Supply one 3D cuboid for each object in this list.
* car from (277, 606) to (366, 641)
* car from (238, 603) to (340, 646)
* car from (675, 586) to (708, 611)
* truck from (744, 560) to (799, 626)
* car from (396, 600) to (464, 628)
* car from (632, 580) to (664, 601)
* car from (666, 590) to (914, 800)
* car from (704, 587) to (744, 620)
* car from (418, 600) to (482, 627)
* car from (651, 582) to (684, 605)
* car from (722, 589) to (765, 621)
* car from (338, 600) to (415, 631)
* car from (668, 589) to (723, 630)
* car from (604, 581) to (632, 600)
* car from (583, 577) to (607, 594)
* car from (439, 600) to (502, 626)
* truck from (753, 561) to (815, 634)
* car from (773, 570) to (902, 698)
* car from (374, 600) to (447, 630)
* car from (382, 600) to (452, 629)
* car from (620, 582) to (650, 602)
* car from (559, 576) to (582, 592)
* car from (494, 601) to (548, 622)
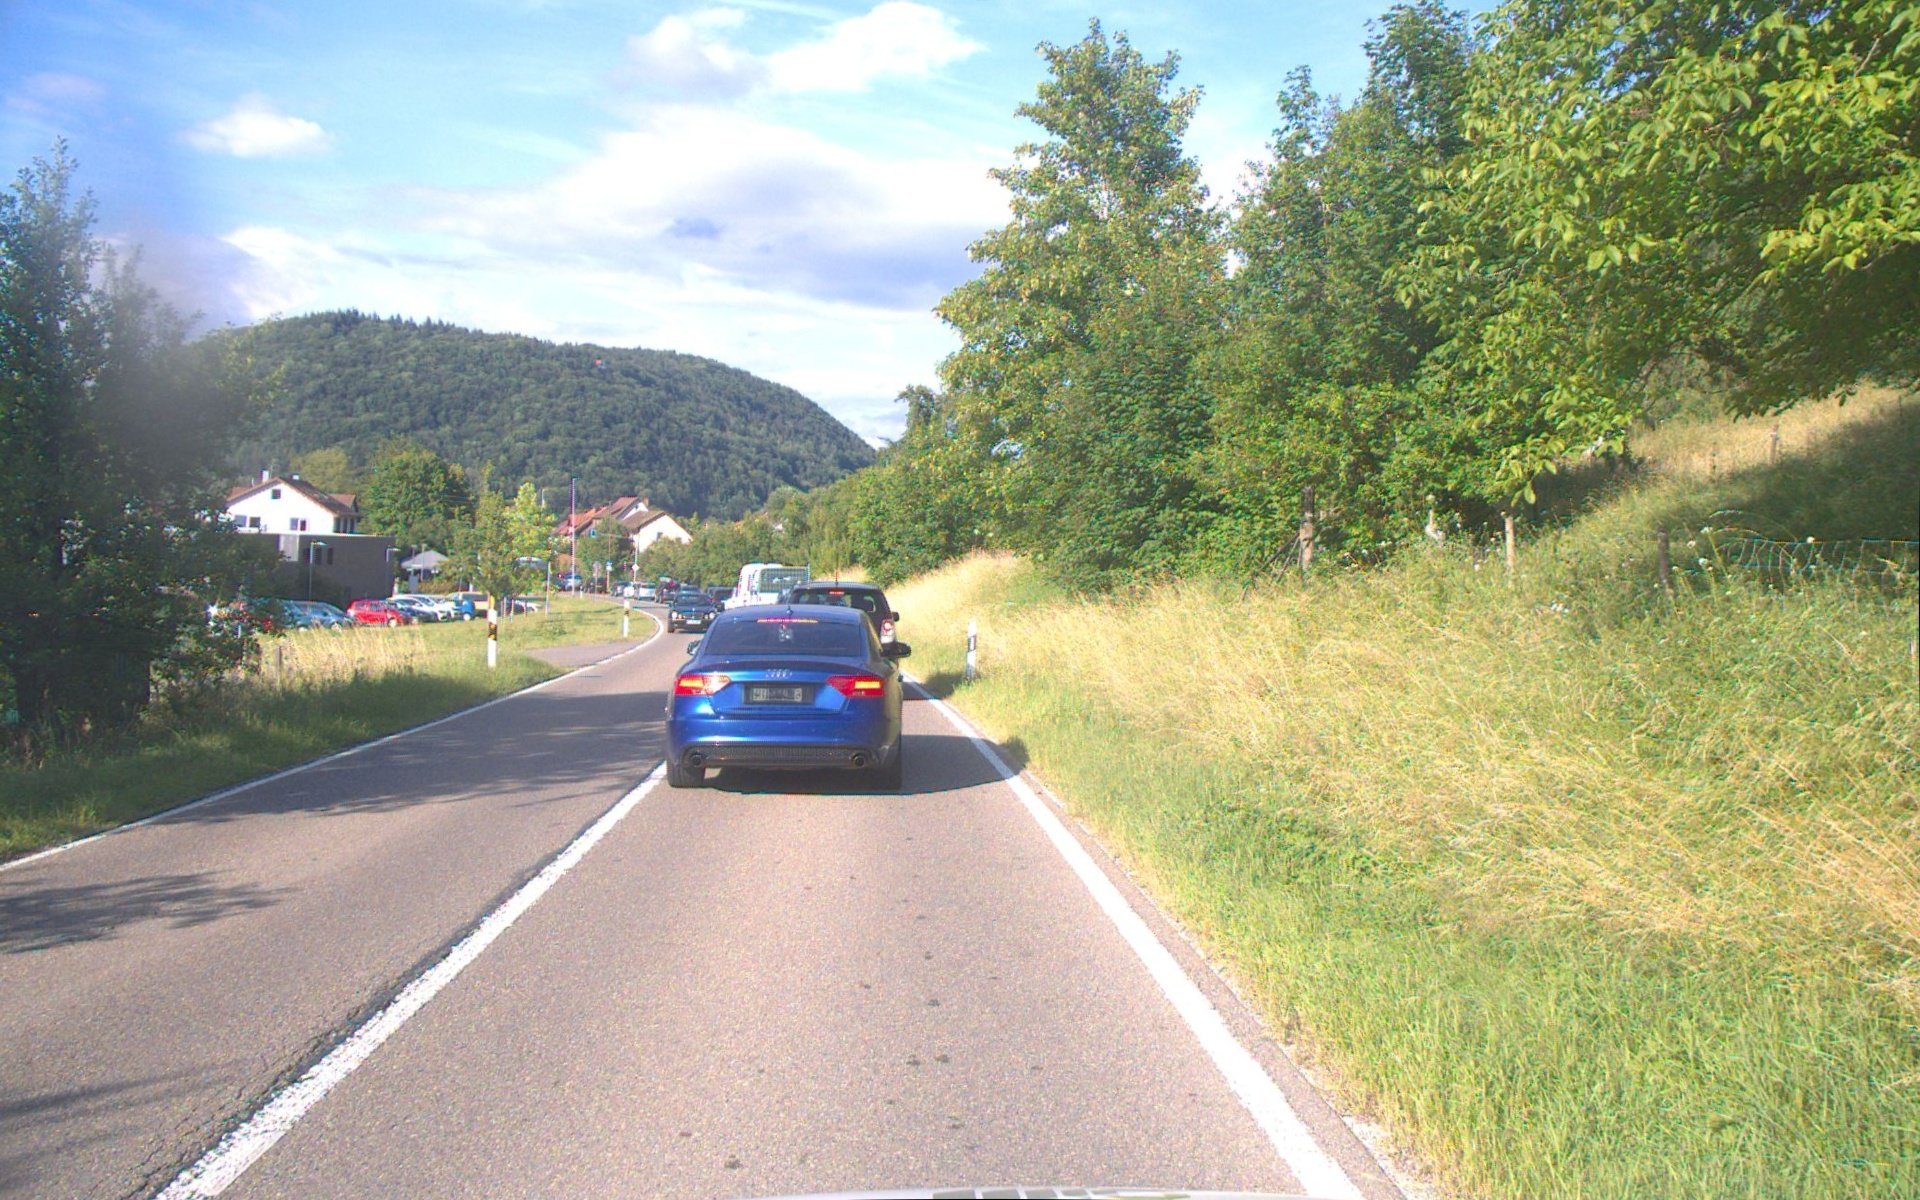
[{"bbox_3d":[-33.349,1.220,86.453,3.912,1.741,1.997,1,0,-8],"label":"car"},{"bbox_3d":[-33.391,1.207,82.402,4.323,2.043,1.997,1,0,-8],"label":"car"},{"bbox_3d":[-19.389,-0.113,119.362,1.817,1.742,3.979,1,0,-18],"label":"car"},{"bbox_3d":[-8.031,-0.272,70.412,2.187,2.615,6.697,1,0,-7],"label":"truck"},{"bbox_3d":[-34.772,0.910,108.645,3.912,1.741,1.997,1,0,-8],"label":"car"},{"bbox_3d":[-26.187,-0.804,138.696,1.820,1.742,3.973,1,0,-22],"label":"car"},{"bbox_3d":[-1.266,0.676,13.554,1.719,1.455,3.844,1,0,-2],"label":"car"},{"bbox_3d":[-13.038,0.198,91.385,1.814,1.742,3.986,1,0,-13],"label":"car"},{"bbox_3d":[-35.233,0.920,114.409,3.912,1.741,1.997,1,0,-8],"label":"car"},{"bbox_3d":[-22.828,-0.521,129.109,1.819,1.742,3.976,1,0,-20],"label":"car"},{"bbox_3d":[-10.774,0.249,82.244,1.813,1.508,3.988,1,0,-12],"label":"car"},{"bbox_3d":[-34.255,0.882,97.139,3.912,1.741,1.997,1,0,-8],"label":"car"},{"bbox_3d":[-9.324,0.342,58.504,1.563,1.377,4.199,1,0,-5],"label":"car"},{"bbox_3d":[-32.668,-0.919,157.970,1.820,1.742,3.972,1,0,-23],"label":"car"},{"bbox_3d":[-37.723,-1.475,170.875,1.820,1.742,3.972,1,0,-23],"label":"car"},{"bbox_3d":[-34.665,0.939,117.189,3.912,1.741,1.997,1,0,-8],"label":"car"},{"bbox_3d":[-6.647,-0.081,62.685,2.187,2.615,6.095,1,0,-6],"label":"truck"},{"bbox_3d":[-1.789,0.467,24.240,1.720,1.710,3.843,1,0,-4],"label":"car"},{"bbox_3d":[-33.783,0.904,101.774,3.912,1.741,1.997,1,0,-8],"label":"car"},{"bbox_3d":[-34.577,0.902,105.368,3.912,1.741,1.997,1,0,-8],"label":"car"},{"bbox_3d":[-28.772,-0.685,146.506,1.820,1.742,3.972,1,0,-23],"label":"car"},{"bbox_3d":[-43.382,-1.771,184.324,1.820,1.742,3.972,1,0,-23],"label":"car"},{"bbox_3d":[-34.915,0.877,131.560,3.912,1.606,1.750,1,0,-8],"label":"car"}]
